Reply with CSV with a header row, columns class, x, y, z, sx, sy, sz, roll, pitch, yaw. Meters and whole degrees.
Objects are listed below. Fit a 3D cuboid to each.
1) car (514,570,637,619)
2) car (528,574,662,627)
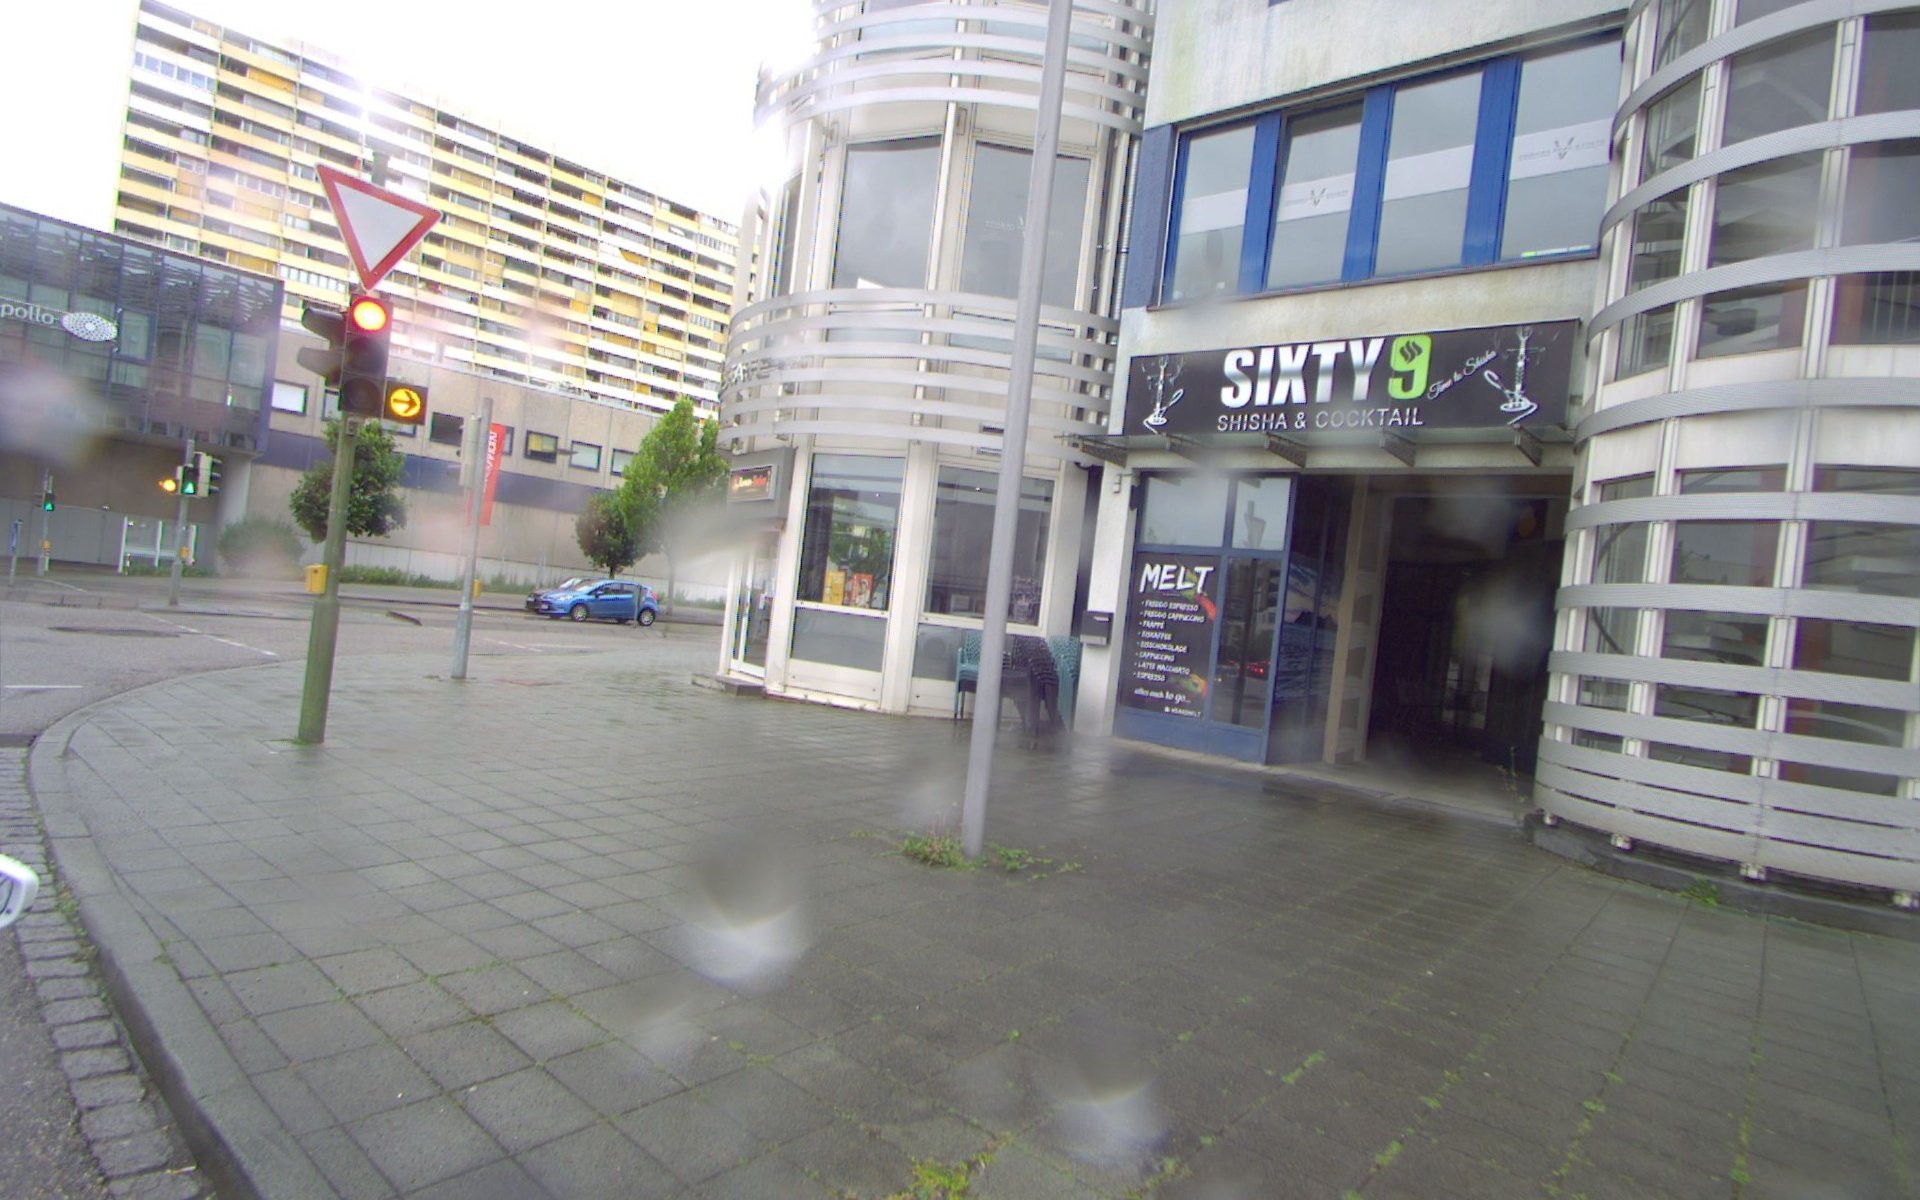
class,x,y,z,sx,sy,sz,roll,pitch,yaw
car,-13.746,-0.167,36.071,1.720,1.412,3.677,5,0,41
car,-12.062,0.031,33.416,1.655,1.415,3.837,5,0,40
